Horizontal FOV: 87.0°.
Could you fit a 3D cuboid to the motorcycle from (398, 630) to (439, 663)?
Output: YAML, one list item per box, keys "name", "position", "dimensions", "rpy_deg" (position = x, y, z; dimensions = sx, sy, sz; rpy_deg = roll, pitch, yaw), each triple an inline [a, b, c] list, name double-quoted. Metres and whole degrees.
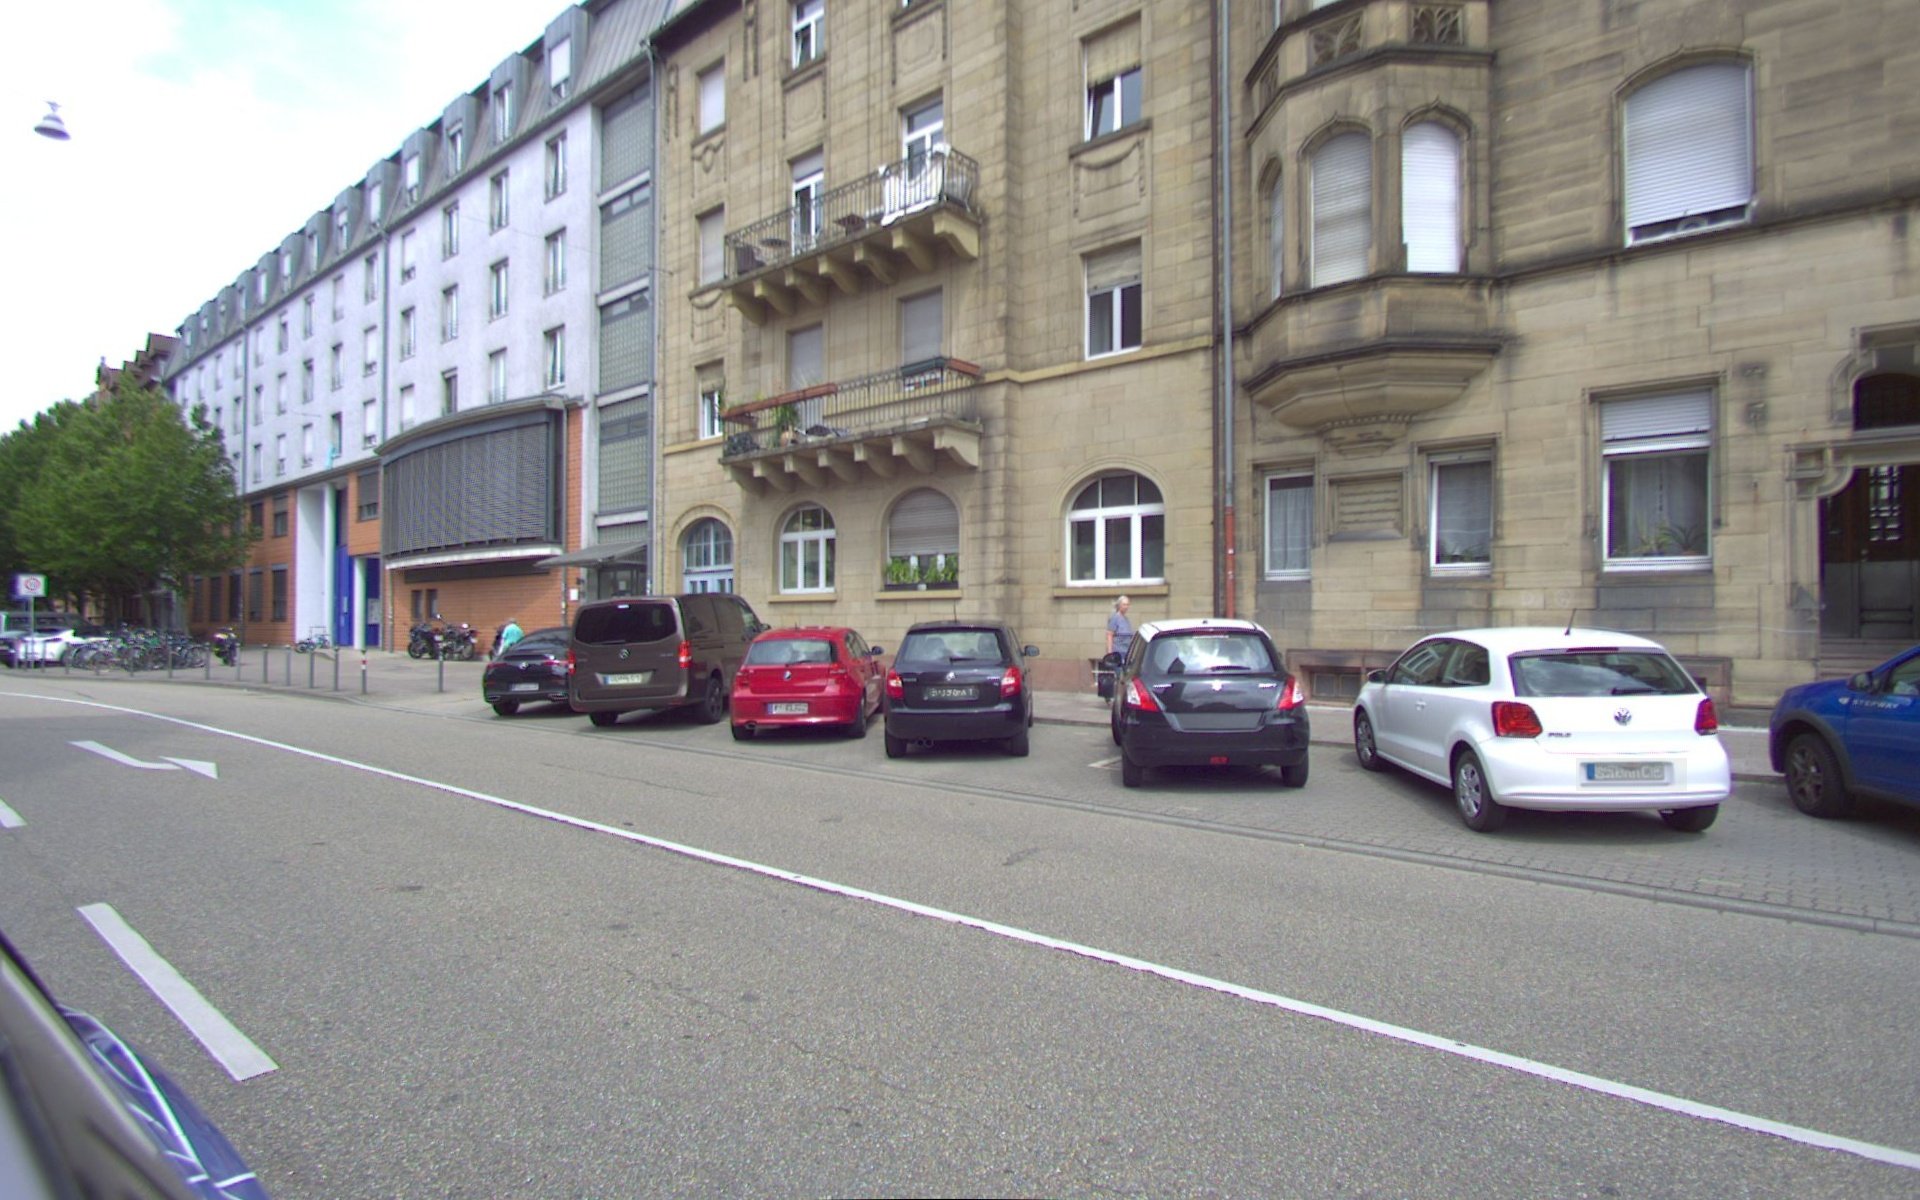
- name: "motorcycle"
  position: [-17.680, 1.512, 33.033]
  dimensions: [1.655, 1.057, 0.577]
  rpy_deg: [-2, -1, 40]

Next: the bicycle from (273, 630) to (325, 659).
- name: "bicycle"
  position: [-26.167, 1.750, 40.082]
  dimensions: [1.590, 0.933, 0.933]
  rpy_deg: [-6, 2, -37]

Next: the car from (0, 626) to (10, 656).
- name: "car"
  position: [-59.752, 2.490, 60.614]
  dimensions: [1.671, 1.872, 4.035]
  rpy_deg: [-1, -2, 7]

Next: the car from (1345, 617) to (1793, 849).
- name: "car"
  position: [4.669, 0.916, 8.473]
  dimensions: [1.720, 1.493, 3.680]
  rpy_deg: [-1, -2, 5]

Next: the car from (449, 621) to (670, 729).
- name: "car"
  position: [-6.819, 1.203, 17.849]
  dimensions: [1.874, 1.420, 4.669]
  rpy_deg: [-2, 1, 2]

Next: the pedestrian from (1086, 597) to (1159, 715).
- name: "pedestrian"
  position: [2.342, 0.783, 14.561]
  dimensions: [0.678, 1.607, 0.783]
  rpy_deg: [-2, 0, 41]

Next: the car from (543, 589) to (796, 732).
- name: "car"
  position: [-4.379, 0.891, 16.344]
  dimensions: [2.096, 1.924, 5.260]
  rpy_deg: [-1, -2, 7]

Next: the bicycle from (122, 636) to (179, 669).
- name: "bicycle"
  position: [-26.274, 1.696, 32.857]
  dimensions: [0.402, 1.034, 1.390]
  rpy_deg: [-2, -2, 43]

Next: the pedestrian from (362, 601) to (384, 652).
- name: "pedestrian"
  position: [-23.659, 1.067, 40.798]
  dimensions: [0.718, 2.029, 0.785]
  rpy_deg: [1, -2, -29]

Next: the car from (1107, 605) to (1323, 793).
- name: "car"
  position: [2.466, 0.889, 10.638]
  dimensions: [1.776, 1.576, 4.001]
  rpy_deg: [-1, -2, 9]

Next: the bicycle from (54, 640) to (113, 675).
- name: "bicycle"
  position: [-28.533, 1.868, 32.947]
  dimensions: [0.402, 1.034, 1.391]
  rpy_deg: [-2, 0, 43]

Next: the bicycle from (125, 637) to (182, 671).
- name: "bicycle"
  position: [-25.909, 1.737, 32.537]
  dimensions: [0.402, 1.034, 1.390]
  rpy_deg: [-2, -2, 43]

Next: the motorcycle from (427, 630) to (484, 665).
- name: "motorcycle"
  position: [-15.747, 1.471, 31.575]
  dimensions: [1.959, 1.057, 0.579]
  rpy_deg: [-2, -1, 30]

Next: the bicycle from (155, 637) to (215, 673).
- name: "bicycle"
  position: [-23.464, 1.650, 30.655]
  dimensions: [0.402, 1.034, 1.390]
  rpy_deg: [-2, -2, 43]

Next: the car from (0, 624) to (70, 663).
- name: "car"
  position: [-41.213, 1.869, 43.762]
  dimensions: [1.692, 1.627, 3.996]
  rpy_deg: [-1, -2, 7]

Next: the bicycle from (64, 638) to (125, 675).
- name: "bicycle"
  position: [-26.986, 1.746, 31.560]
  dimensions: [0.402, 1.034, 1.391]
  rpy_deg: [-2, 0, 43]

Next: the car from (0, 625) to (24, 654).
- name: "car"
  position: [-53.147, 2.135, 54.429]
  dimensions: [1.671, 1.580, 3.996]
  rpy_deg: [0, -2, 7]

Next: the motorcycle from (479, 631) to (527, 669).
- name: "motorcycle"
  position: [-13.092, 1.421, 28.986]
  dimensions: [1.793, 1.057, 0.577]
  rpy_deg: [-2, -1, 42]

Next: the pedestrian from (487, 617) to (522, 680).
- name: "pedestrian"
  position: [-11.118, 1.177, 24.698]
  dimensions: [0.651, 1.497, 0.510]
  rpy_deg: [1, -2, -38]

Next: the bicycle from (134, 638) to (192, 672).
- name: "bicycle"
  position: [-25.239, 1.739, 32.062]
  dimensions: [0.402, 1.034, 1.390]
  rpy_deg: [-2, -2, 43]

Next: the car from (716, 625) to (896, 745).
- name: "car"
  position: [-1.977, 1.071, 14.117]
  dimensions: [1.772, 1.420, 4.009]
  rpy_deg: [0, -2, 2]

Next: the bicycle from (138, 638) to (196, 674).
- name: "bicycle"
  position: [-24.529, 1.719, 31.320]
  dimensions: [0.402, 1.034, 1.390]
  rpy_deg: [-2, -2, 43]

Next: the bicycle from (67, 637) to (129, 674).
- name: "bicycle"
  position: [-26.503, 1.688, 31.139]
  dimensions: [0.402, 1.046, 1.391]
  rpy_deg: [-2, 0, 43]

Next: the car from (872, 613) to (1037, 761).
- name: "car"
  position: [0.089, 0.953, 12.457]
  dimensions: [1.611, 1.514, 3.989]
  rpy_deg: [-1, -2, 6]

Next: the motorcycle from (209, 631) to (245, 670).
- name: "motorcycle"
  position: [-23.053, 1.586, 31.824]
  dimensions: [1.779, 1.181, 0.577]
  rpy_deg: [-2, -1, 43]

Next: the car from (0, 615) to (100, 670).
- name: "car"
  position: [-37.032, 1.641, 40.302]
  dimensions: [1.841, 2.013, 3.993]
  rpy_deg: [-1, 0, 10]

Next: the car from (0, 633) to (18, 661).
- name: "car"
  position: [-55.168, 2.634, 56.233]
  dimensions: [1.671, 1.580, 3.996]
  rpy_deg: [-1, -2, 7]

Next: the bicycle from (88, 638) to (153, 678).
- name: "bicycle"
  position: [-24.280, 1.676, 29.291]
  dimensions: [0.402, 1.046, 1.391]
  rpy_deg: [-2, 0, 43]

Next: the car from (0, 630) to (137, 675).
- name: "car"
  position: [-32.411, 1.847, 36.474]
  dimensions: [1.697, 1.480, 4.307]
  rpy_deg: [-1, -2, 7]

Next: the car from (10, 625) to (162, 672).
- name: "car"
  position: [-30.377, 1.644, 35.342]
  dimensions: [1.583, 1.557, 3.997]
  rpy_deg: [-1, -2, 7]

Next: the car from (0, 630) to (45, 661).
- name: "car"
  position: [-47.096, 2.226, 49.038]
  dimensions: [1.671, 1.465, 3.996]
  rpy_deg: [-1, -2, 7]

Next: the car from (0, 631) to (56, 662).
- name: "car"
  position: [-45.356, 2.196, 47.721]
  dimensions: [1.577, 1.400, 3.996]
  rpy_deg: [-1, -2, 7]

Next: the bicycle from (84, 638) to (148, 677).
- name: "bicycle"
  position: [-24.924, 1.692, 29.906]
  dimensions: [0.402, 1.046, 1.391]
  rpy_deg: [-2, 0, 43]

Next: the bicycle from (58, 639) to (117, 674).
- name: "bicycle"
  position: [-27.932, 1.792, 32.410]
  dimensions: [0.402, 1.034, 1.391]
  rpy_deg: [-2, 0, 43]

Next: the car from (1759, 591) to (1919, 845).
- name: "car"
  position: [7.092, 0.755, 6.104]
  dimensions: [1.703, 1.664, 3.772]
  rpy_deg: [-1, -2, 5]

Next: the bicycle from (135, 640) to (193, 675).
- name: "bicycle"
  position: [-24.916, 1.786, 31.691]
  dimensions: [0.402, 1.034, 1.390]
  rpy_deg: [-2, -2, 43]
